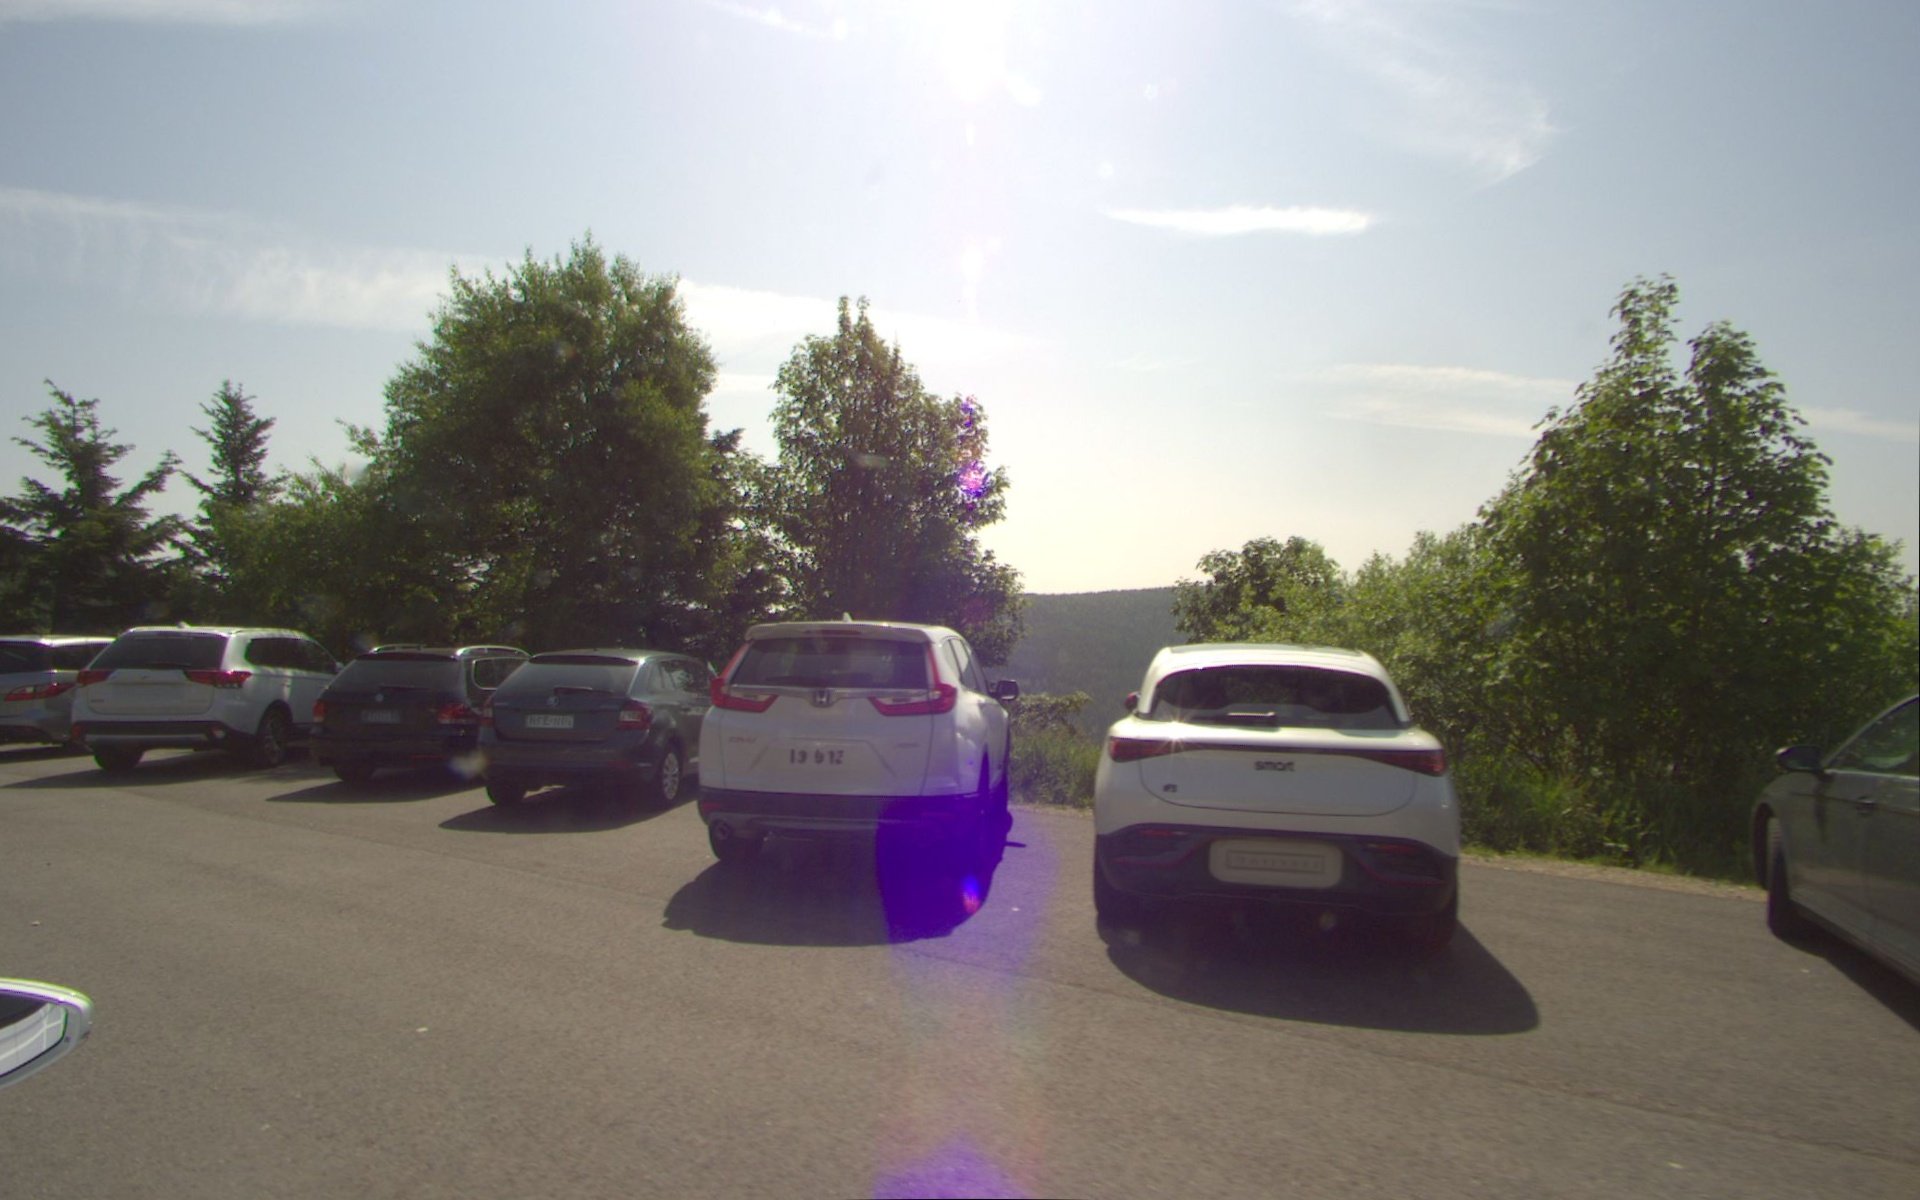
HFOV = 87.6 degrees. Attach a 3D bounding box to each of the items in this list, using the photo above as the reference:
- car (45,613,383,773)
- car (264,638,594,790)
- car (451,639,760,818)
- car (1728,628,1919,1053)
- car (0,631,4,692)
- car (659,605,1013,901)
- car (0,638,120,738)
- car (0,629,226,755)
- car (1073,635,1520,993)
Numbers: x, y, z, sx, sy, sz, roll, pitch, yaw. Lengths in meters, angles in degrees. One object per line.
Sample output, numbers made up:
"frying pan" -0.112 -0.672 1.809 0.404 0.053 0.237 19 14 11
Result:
"car" -9.319 1.129 13.024 1.829 1.715 4.226 1 -3 -11
"car" -5.985 1.266 11.934 1.858 1.478 4.056 1 -4 -2
"car" -3.395 1.214 10.413 1.630 1.476 3.811 1 -4 3
"car" 4.435 0.894 3.614 1.783 1.505 4.354 1 -4 26
"car" -17.786 1.249 15.571 1.953 1.715 4.276 1 -4 -6
"car" -0.622 1.018 7.913 1.855 1.669 4.189 0 -4 6
"car" -15.309 1.325 15.213 1.733 1.494 4.004 1 -4 -2
"car" -12.633 1.272 14.398 1.787 1.567 4.000 1 -4 -11
"car" 1.944 1.017 6.505 1.908 1.519 4.098 0 -3 14
